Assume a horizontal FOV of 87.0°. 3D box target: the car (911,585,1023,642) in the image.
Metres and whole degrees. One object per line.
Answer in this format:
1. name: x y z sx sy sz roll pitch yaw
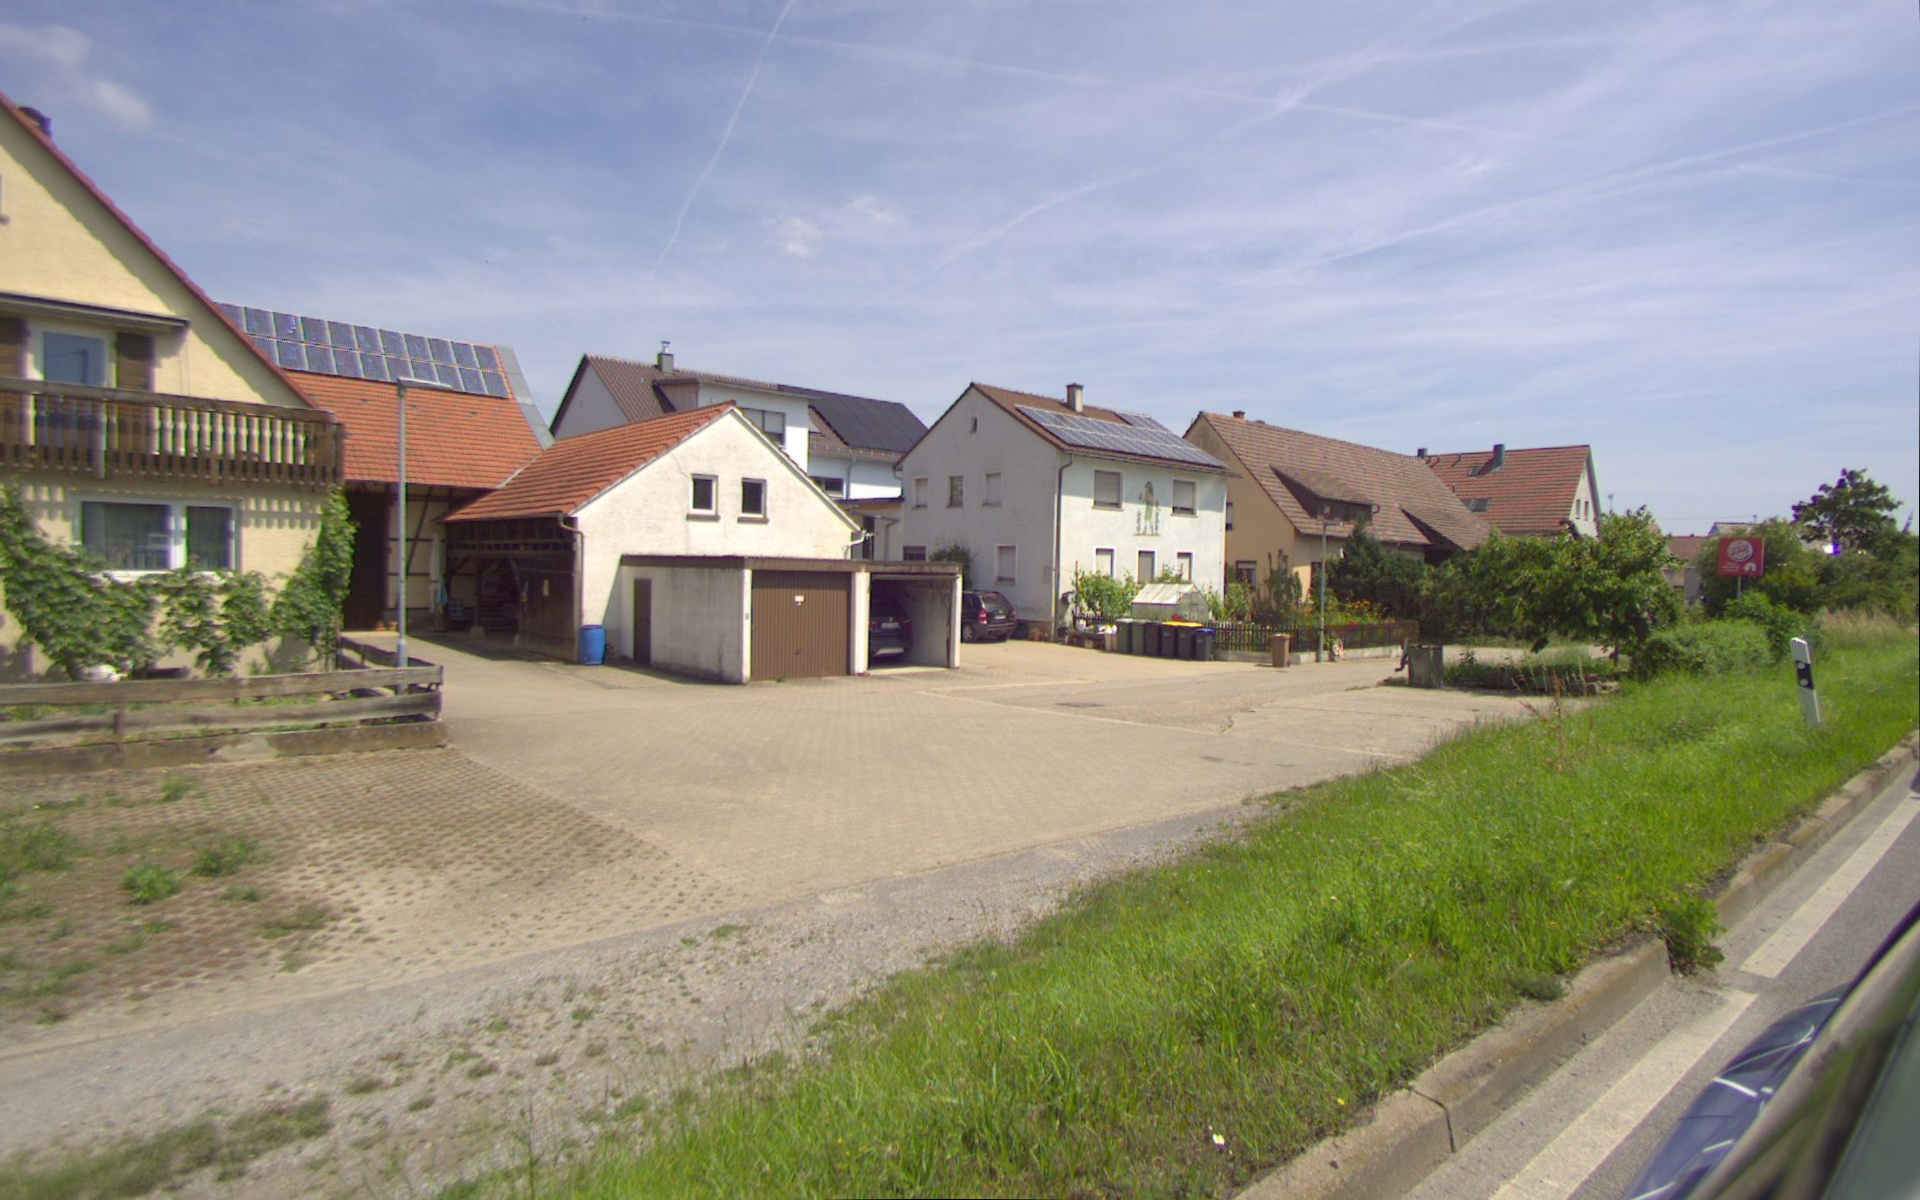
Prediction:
1. car: 0.186 0.414 35.565 1.796 1.755 3.996 -1 3 -40

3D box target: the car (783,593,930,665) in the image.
1. car: -2.659 0.649 25.275 1.793 1.624 3.996 0 0 -39

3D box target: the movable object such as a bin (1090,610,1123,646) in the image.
1. movable object such as a bin: 4.885 0.911 33.676 0.815 1.171 0.740 0 -1 -41

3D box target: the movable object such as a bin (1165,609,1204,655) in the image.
1. movable object such as a bin: 6.906 0.964 31.166 0.930 1.388 0.764 0 -1 -41

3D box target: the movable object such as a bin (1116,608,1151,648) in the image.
1. movable object such as a bin: 5.686 0.908 33.093 0.874 1.262 0.744 0 -1 -41

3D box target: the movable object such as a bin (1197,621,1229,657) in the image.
1. movable object such as a bin: 7.606 1.154 30.444 0.743 1.040 0.645 0 -1 -41

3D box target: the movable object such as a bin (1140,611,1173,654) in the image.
1. movable object such as a bin: 6.284 1.026 32.396 0.806 1.355 0.678 1 -1 -41
